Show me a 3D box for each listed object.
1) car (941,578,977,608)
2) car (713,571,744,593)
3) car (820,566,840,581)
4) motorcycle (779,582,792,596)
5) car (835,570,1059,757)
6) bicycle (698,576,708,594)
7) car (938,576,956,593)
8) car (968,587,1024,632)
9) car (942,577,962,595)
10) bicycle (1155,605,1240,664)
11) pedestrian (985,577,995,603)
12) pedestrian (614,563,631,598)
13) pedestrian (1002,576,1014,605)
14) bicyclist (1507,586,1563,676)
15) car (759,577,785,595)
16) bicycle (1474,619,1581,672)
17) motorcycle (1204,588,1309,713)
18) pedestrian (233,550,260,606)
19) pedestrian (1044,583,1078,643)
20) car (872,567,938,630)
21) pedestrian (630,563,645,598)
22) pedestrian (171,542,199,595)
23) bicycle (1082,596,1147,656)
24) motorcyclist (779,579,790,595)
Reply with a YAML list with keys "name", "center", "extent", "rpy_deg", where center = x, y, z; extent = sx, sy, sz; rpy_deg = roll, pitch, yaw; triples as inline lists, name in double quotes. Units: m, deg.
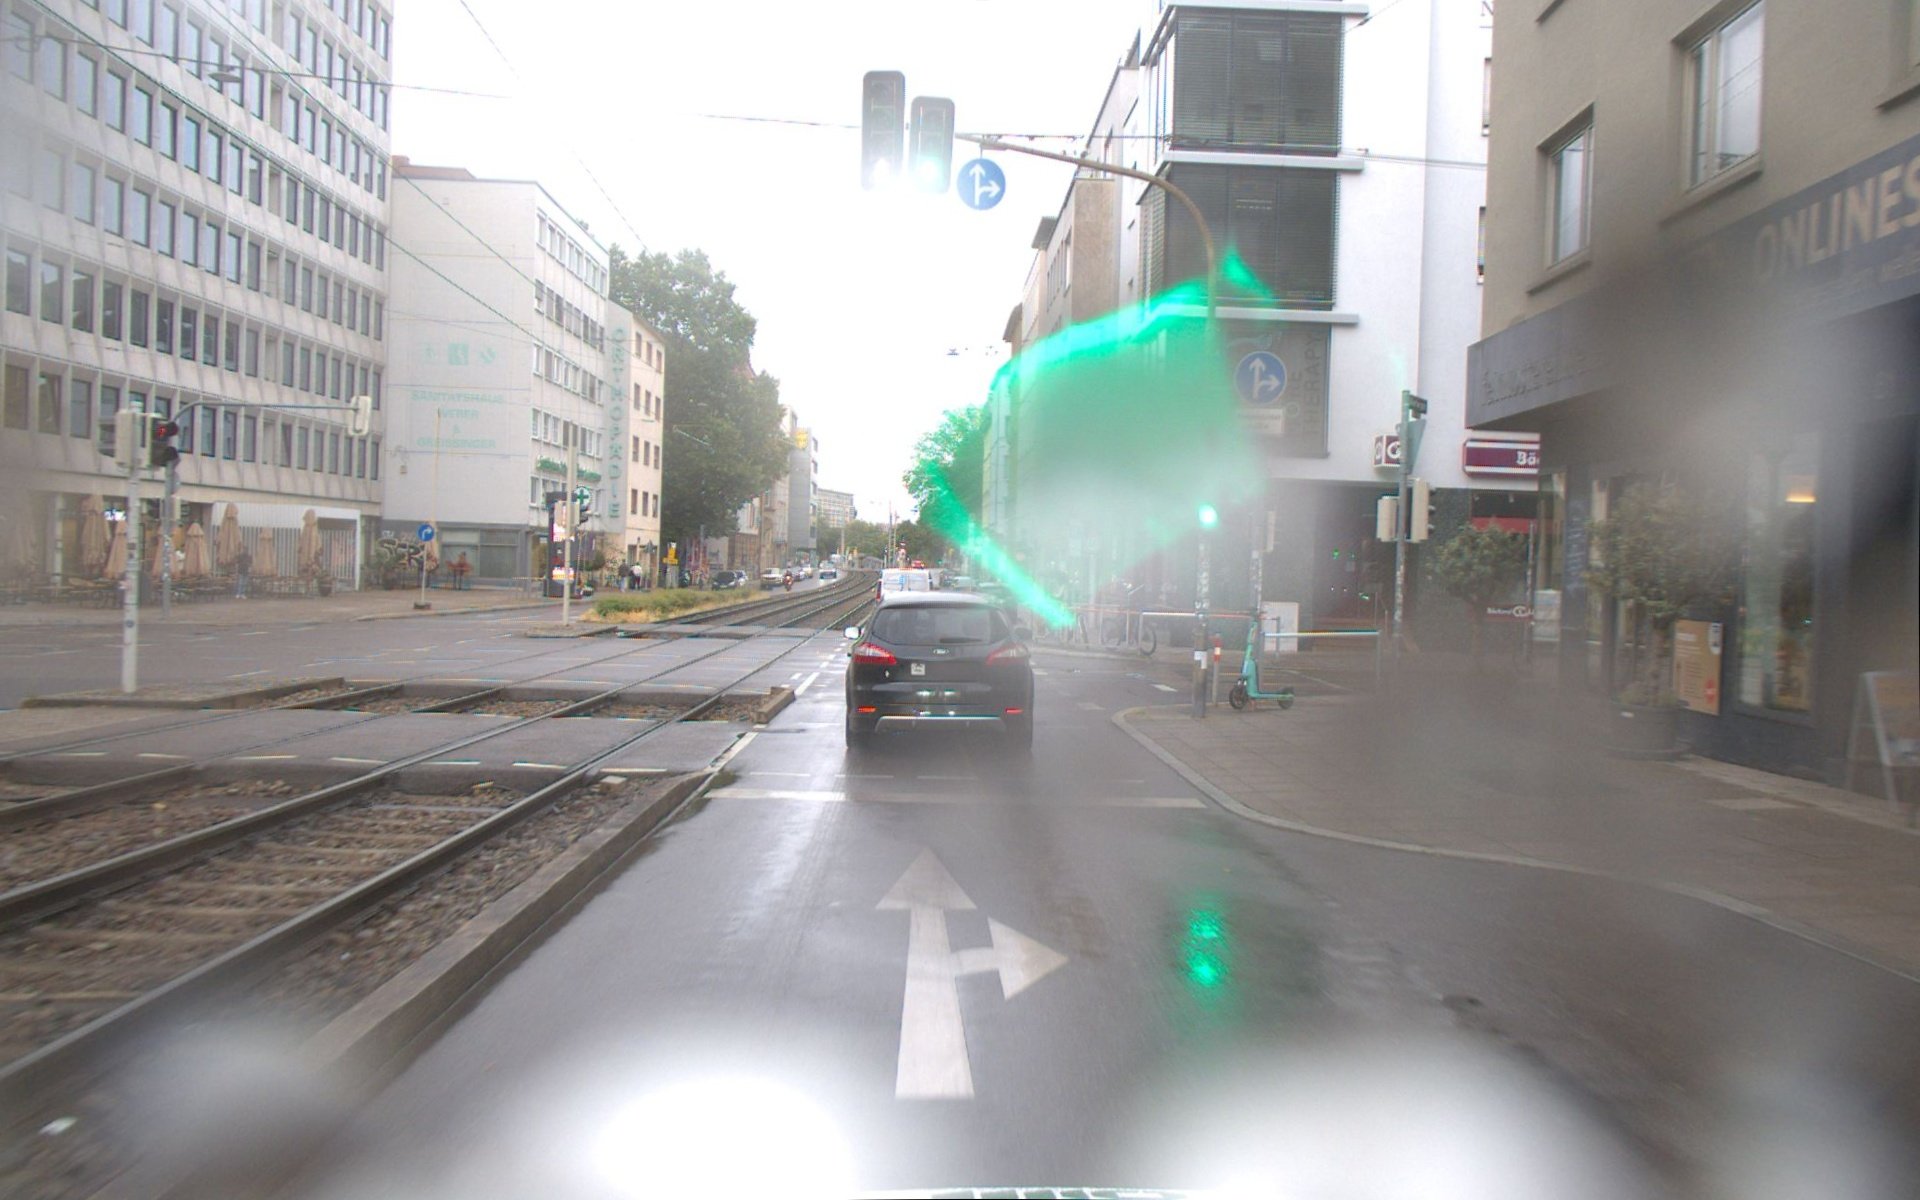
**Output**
- name: "car"
  center: [-0.075, -0.403, 94.377]
  extent: [1.953, 1.621, 4.571]
  rpy_deg: [1, 0, -1]
- name: "car"
  center: [-16.255, -1.264, 116.143]
  extent: [1.708, 1.494, 4.219]
  rpy_deg: [0, 1, -2]
- name: "car"
  center: [-14.750, -3.009, 187.586]
  extent: [1.953, 1.545, 4.442]
  rpy_deg: [2, -1, -1]
- name: "motorcycle"
  center: [-13.613, -0.854, 128.992]
  extent: [0.727, 1.078, 1.931]
  rpy_deg: [2, 0, 0]
- name: "car"
  center: [-0.149, 0.556, 16.715]
  extent: [1.953, 1.622, 4.270]
  rpy_deg: [1, 0, -1]
- name: "bicycle"
  center: [-17.592, -1.032, 113.269]
  extent: [0.580, 1.248, 2.399]
  rpy_deg: [2, 0, -8]
- name: "car"
  center: [-1.247, -1.547, 161.929]
  extent: [1.610, 1.542, 4.038]
  rpy_deg: [2, 1, -2]
- name: "car"
  center: [1.345, 0.363, 62.876]
  extent: [1.953, 1.622, 4.270]
  rpy_deg: [1, 0, -1]
- name: "car"
  center: [-0.785, -1.339, 157.447]
  extent: [1.704, 1.515, 3.999]
  rpy_deg: [2, 1, -2]
- name: "bicycle"
  center: [5.052, 0.727, 35.256]
  extent: [0.572, 1.177, 1.930]
  rpy_deg: [2, 0, -37]
- name: "pedestrian"
  center: [2.159, -0.722, 118.737]
  extent: [0.648, 1.884, 0.821]
  rpy_deg: [2, 1, -2]
- name: "pedestrian"
  center: [-19.054, -1.087, 93.426]
  extent: [0.712, 1.929, 0.982]
  rpy_deg: [2, 0, -2]
- name: "pedestrian"
  center: [3.463, -0.663, 118.984]
  extent: [0.721, 2.048, 0.821]
  rpy_deg: [2, 1, -2]
- name: "bicyclist"
  center: [11.597, 0.622, 33.392]
  extent: [0.823, 1.777, 0.756]
  rpy_deg: [1, 0, -3]
- name: "car"
  center: [-16.973, -1.288, 149.417]
  extent: [1.953, 1.545, 4.434]
  rpy_deg: [2, 1, -2]
- name: "bicycle"
  center: [11.459, 0.916, 33.429]
  extent: [1.887, 1.028, 0.755]
  rpy_deg: [1, 0, -4]
- name: "motorcycle"
  center: [3.636, 0.603, 20.253]
  extent: [1.121, 1.487, 0.675]
  rpy_deg: [1, 0, -38]
- name: "pedestrian"
  center: [-24.023, -0.756, 55.714]
  extent: [0.553, 1.854, 0.843]
  rpy_deg: [2, 1, -6]
- name: "pedestrian"
  center: [2.752, 0.348, 45.110]
  extent: [0.650, 1.610, 0.774]
  rpy_deg: [1, 0, -23]
- name: "car"
  center: [-1.695, -0.055, 51.724]
  extent: [1.953, 1.848, 4.270]
  rpy_deg: [1, 0, -1]
- name: "pedestrian"
  center: [-18.208, -1.106, 93.440]
  extent: [0.665, 1.929, 0.742]
  rpy_deg: [2, 0, -2]
- name: "pedestrian"
  center: [-26.219, -1.067, 55.963]
  extent: [0.553, 1.779, 0.843]
  rpy_deg: [2, 1, -6]
- name: "bicycle"
  center: [3.467, 0.578, 37.264]
  extent: [0.491, 1.281, 1.940]
  rpy_deg: [2, 0, -26]
- name: "motorcyclist"
  center: [-13.607, -1.022, 128.429]
  extent: [0.726, 1.239, 0.970]
  rpy_deg: [2, 0, 0]
